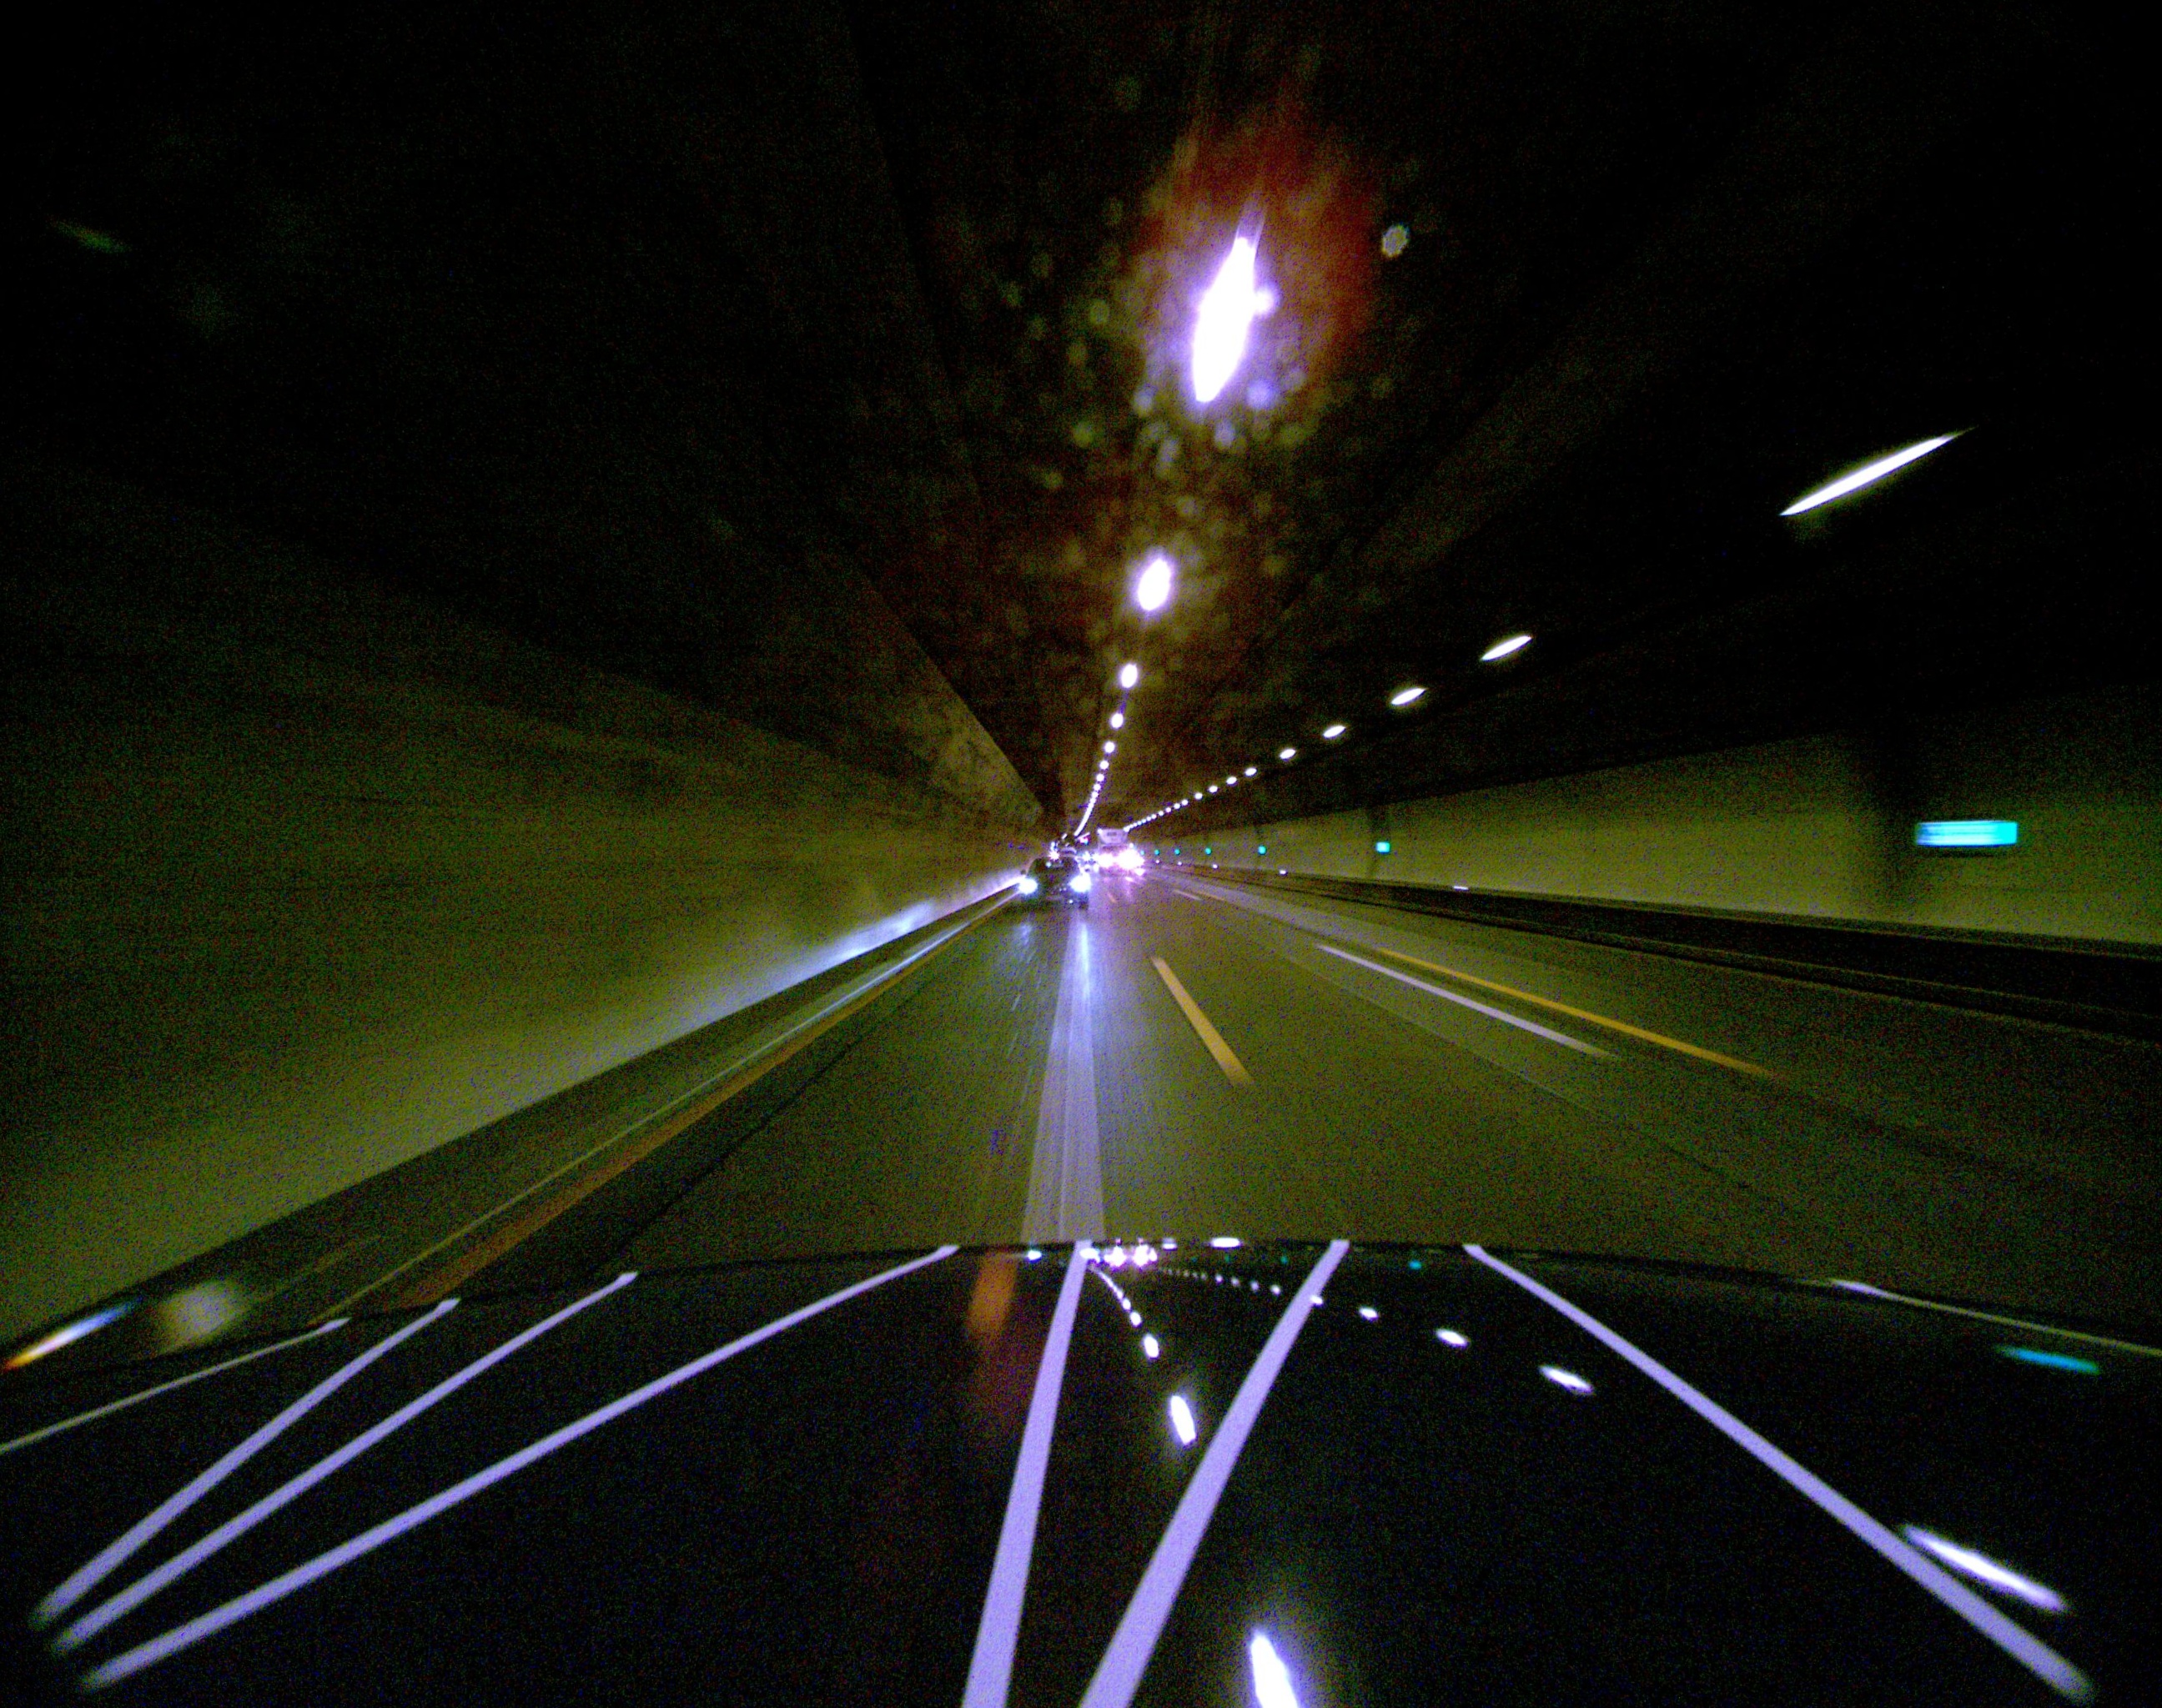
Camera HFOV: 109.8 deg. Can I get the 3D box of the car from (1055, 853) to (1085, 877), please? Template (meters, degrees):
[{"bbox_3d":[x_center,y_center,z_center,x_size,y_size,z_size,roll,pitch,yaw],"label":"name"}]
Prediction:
[{"bbox_3d":[-0.809,0.719,53.866,1.999,1.531,4.741,-2,1,-2],"label":"car"}]

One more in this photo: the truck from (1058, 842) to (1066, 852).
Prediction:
[{"bbox_3d":[-6.554,-2.310,262.611,2.208,3.449,11.765,-1,0,2],"label":"truck"}]

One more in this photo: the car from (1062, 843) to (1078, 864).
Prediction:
[{"bbox_3d":[-1.480,-0.108,101.181,1.999,2.710,6.272,-2,1,-2],"label":"car"}]

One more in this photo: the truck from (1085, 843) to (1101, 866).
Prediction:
[{"bbox_3d":[1.747,0.045,108.721,2.162,3.098,6.030,-2,1,1],"label":"truck"}]

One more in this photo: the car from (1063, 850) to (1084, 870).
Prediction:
[{"bbox_3d":[-0.877,0.603,81.137,1.999,2.002,4.852,-2,0,-3],"label":"car"}]

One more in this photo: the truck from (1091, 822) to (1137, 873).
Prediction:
[{"bbox_3d":[2.239,-0.423,53.830,2.534,3.314,7.714,-2,0,-2],"label":"truck"}]

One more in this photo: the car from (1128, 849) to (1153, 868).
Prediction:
[{"bbox_3d":[5.358,0.393,69.461,1.998,1.531,4.851,-2,1,2],"label":"car"}]

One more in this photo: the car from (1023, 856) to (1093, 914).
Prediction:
[{"bbox_3d":[-0.698,0.844,22.693,1.826,1.469,4.520,-2,0,-2],"label":"car"}]
